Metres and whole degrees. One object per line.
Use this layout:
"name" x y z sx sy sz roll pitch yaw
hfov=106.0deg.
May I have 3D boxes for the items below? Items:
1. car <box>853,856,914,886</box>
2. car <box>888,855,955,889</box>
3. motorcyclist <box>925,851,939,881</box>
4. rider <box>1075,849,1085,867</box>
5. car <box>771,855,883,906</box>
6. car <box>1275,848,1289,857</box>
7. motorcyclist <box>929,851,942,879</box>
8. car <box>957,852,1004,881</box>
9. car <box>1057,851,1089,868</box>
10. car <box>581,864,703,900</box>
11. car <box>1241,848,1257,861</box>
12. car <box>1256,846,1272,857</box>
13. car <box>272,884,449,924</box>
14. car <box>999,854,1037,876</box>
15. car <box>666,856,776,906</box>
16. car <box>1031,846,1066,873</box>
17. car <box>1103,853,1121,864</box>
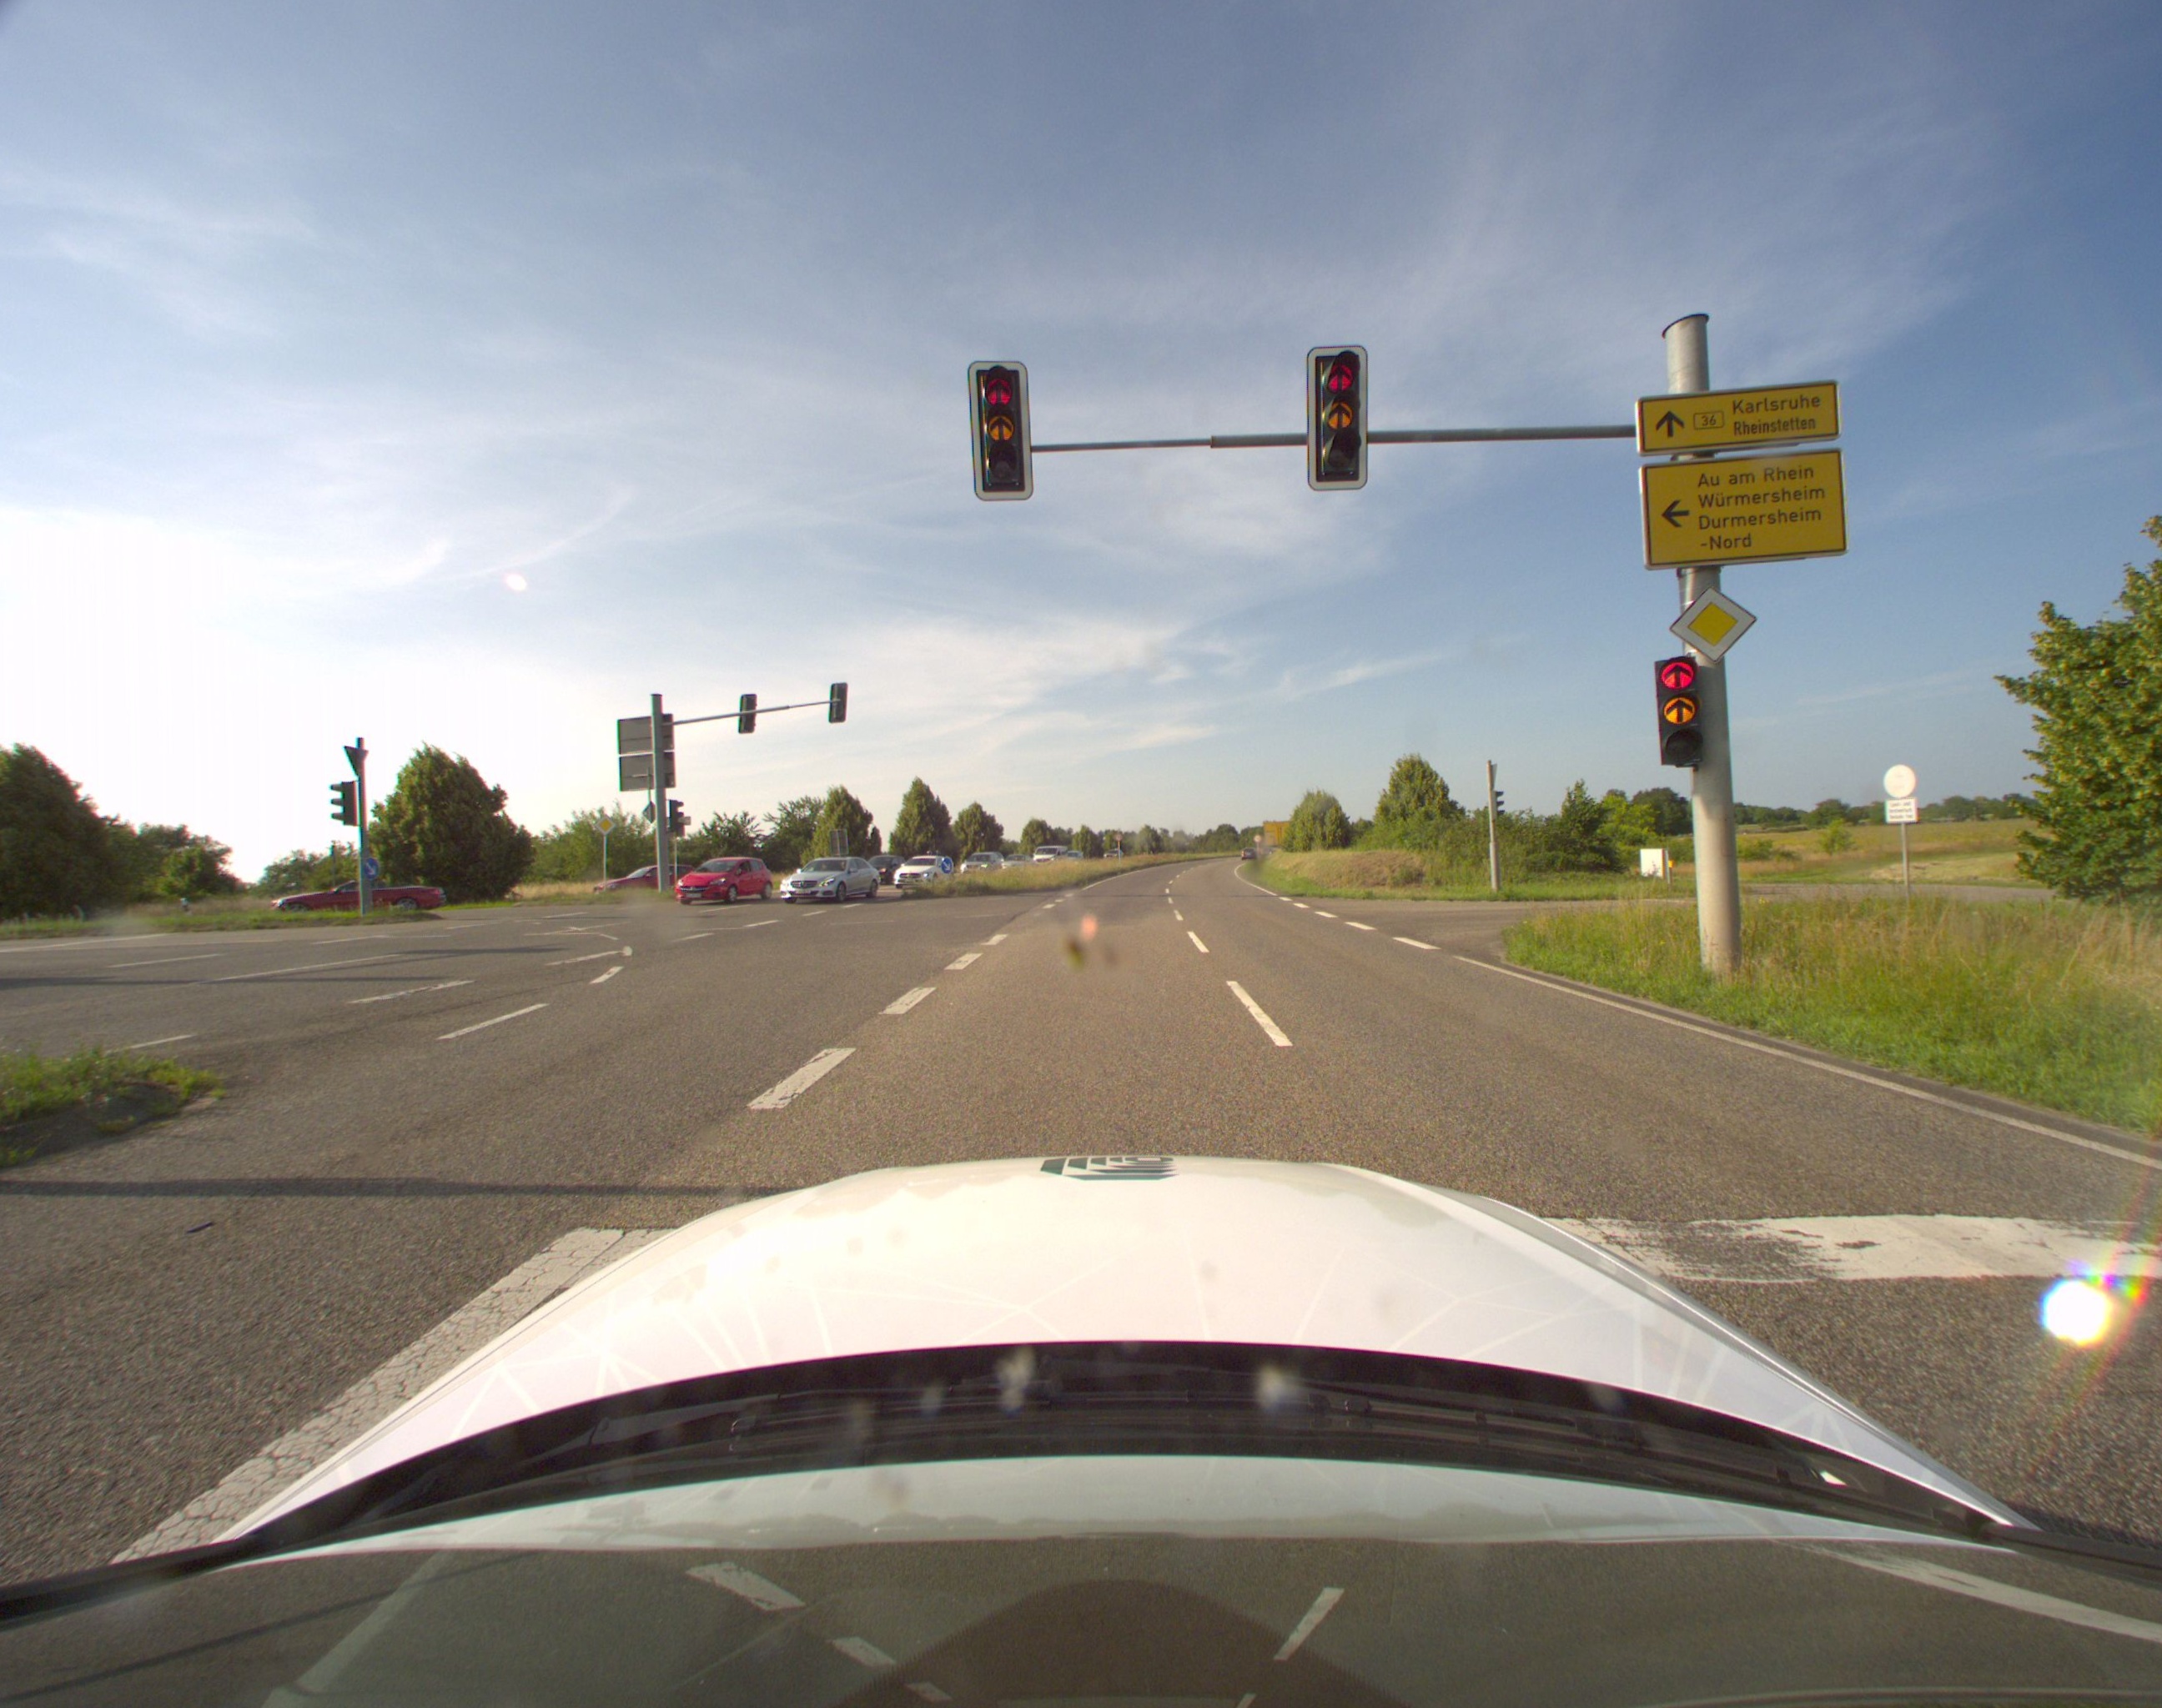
"car" -10.247 0.865 42.507 1.777 1.433 4.058 -2 0 6
"car" -7.217 0.785 37.271 1.777 1.433 4.316 -2 0 6
"motorcyclist" -8.987 0.721 49.213 0.660 1.747 0.605 -2 0 -1
"rider" -0.113 0.479 93.918 0.861 2.013 0.775 -2 0 17
"car" -8.228 0.795 26.868 1.777 1.488 4.659 -2 0 6
"car" 34.620 -0.339 140.192 1.757 1.492 4.007 -1 0 24
"motorcyclist" -9.417 0.700 52.783 0.660 1.817 0.605 -2 0 -1
"car" -5.853 0.712 47.852 1.777 1.568 4.058 -2 0 6
"car" -0.666 0.498 73.441 1.772 1.385 4.068 -2 0 16
"car" -18.439 1.151 34.385 1.643 1.326 4.240 -2 0 35
"car" 21.371 0.093 103.737 1.773 1.605 4.207 -1 -1 10
"car" 27.419 -0.432 121.967 1.794 1.565 4.553 -1 0 20
"car" -25.879 1.764 29.492 4.494 1.101 1.980 -2 0 -32
"car" -4.220 0.738 55.170 1.777 1.385 4.058 -2 0 6
"car" -11.822 0.848 27.034 1.713 1.488 3.808 -2 0 4
"car" -2.552 0.430 65.098 1.913 2.078 4.255 -2 0 10
"car" 4.020 0.588 104.549 1.395 1.402 3.437 -2 0 16
